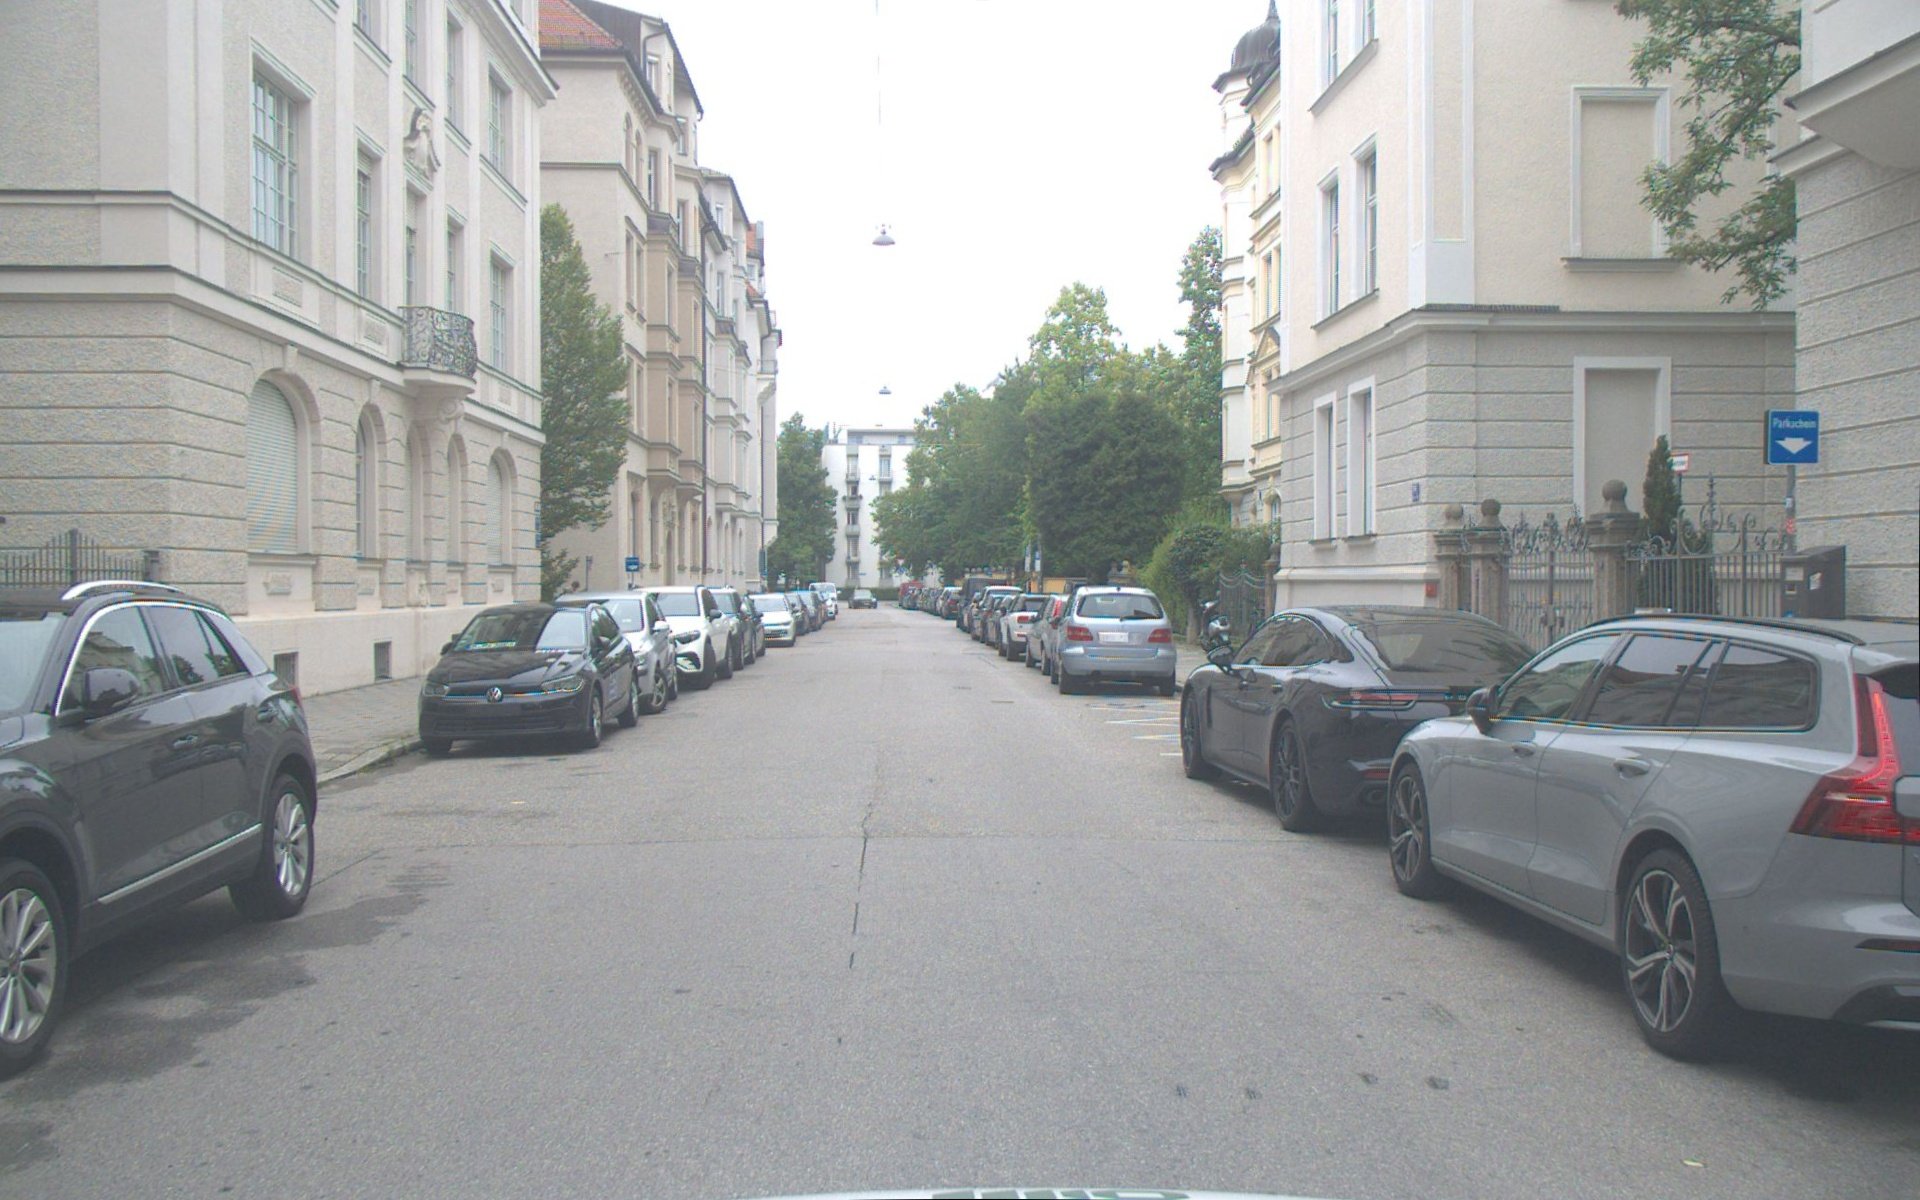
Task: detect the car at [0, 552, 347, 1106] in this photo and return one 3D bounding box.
[{"bbox_3d":[-3.809,0.706,6.153,1.693,1.647,4.118,-3,1,-4],"label":"car"}]

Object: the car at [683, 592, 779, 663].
[{"bbox_3d":[-5.127,0.580,37.465,1.751,1.437,4.365,-1,1,-3],"label":"car"}]

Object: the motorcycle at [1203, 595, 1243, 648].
[{"bbox_3d":[5.790,0.455,36.527,0.594,1.131,1.965,-1,0,1],"label":"motorcycle"}]

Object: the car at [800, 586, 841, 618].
[{"bbox_3d":[-7.063,0.085,83.991,1.799,1.463,4.273,-3,1,-2],"label":"car"}]

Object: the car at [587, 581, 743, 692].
[{"bbox_3d":[-4.801,0.529,27.530,1.876,1.647,4.570,-1,1,-2],"label":"car"}]

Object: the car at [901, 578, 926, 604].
[{"bbox_3d":[-3.700,-0.753,132.152,1.799,1.960,4.004,2,1,0],"label":"car"}]

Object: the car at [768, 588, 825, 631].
[{"bbox_3d":[-6.226,0.336,63.334,1.799,1.460,4.243,-3,1,-2],"label":"car"}]

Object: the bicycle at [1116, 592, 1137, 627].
[{"bbox_3d":[5.381,0.296,53.386,0.445,1.118,1.312,-1,0,-4],"label":"bicycle"}]

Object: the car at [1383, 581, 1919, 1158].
[{"bbox_3d":[3.220,0.728,6.674,1.725,1.511,4.419,2,1,-2],"label":"car"}]

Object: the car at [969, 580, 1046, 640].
[{"bbox_3d":[1.366,0.272,49.244,1.716,1.639,4.419,1,1,-6],"label":"car"}]

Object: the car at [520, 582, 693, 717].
[{"bbox_3d":[-4.697,0.593,22.520,1.748,1.568,4.252,-3,1,-6],"label":"car"}]

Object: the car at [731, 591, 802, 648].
[{"bbox_3d":[-5.608,0.540,48.350,1.800,1.459,4.241,-2,1,-4],"label":"car"}]

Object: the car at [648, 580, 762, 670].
[{"bbox_3d":[-5.023,0.440,33.100,1.800,1.647,4.242,-1,1,-3],"label":"car"}]

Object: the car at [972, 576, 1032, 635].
[{"bbox_3d":[1.332,0.175,54.139,1.688,1.800,4.411,2,0,-2],"label":"car"}]

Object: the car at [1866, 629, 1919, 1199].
[{"bbox_3d":[3.379,0.851,1.689,1.801,1.423,4.968,1,1,-6],"label":"car"}]

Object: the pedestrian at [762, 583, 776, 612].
[{"bbox_3d":[-11.291,-0.162,97.940,0.778,1.708,0.698,-1,0,-11],"label":"pedestrian"}]

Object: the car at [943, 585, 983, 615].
[{"bbox_3d":[0.108,0.002,81.845,1.801,1.438,4.340,1,0,-2],"label":"car"}]

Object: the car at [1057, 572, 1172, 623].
[{"bbox_3d":[6.409,-0.128,68.958,4.445,1.984,1.900,-1,2,-9],"label":"car"}]

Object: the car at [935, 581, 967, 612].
[{"bbox_3d":[-0.512,-0.182,91.874,1.484,1.690,3.670,1,0,-5],"label":"car"}]

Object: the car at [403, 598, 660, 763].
[{"bbox_3d":[-4.449,0.755,17.835,1.757,1.439,4.276,-3,1,-2],"label":"car"}]

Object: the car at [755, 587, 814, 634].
[{"bbox_3d":[-6.102,0.338,57.783,1.797,1.459,4.550,-2,1,-4],"label":"car"}]

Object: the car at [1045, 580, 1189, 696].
[{"bbox_3d":[2.389,0.519,26.129,1.785,1.596,4.400,2,1,0],"label":"car"}]

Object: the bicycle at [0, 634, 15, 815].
[{"bbox_3d":[-7.223,0.855,10.279,1.128,1.264,2.716,3,0,-2],"label":"bicycle"}]

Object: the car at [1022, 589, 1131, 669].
[{"bbox_3d":[2.190,0.517,31.839,1.719,1.431,3.450,0,0,-2],"label":"car"}]

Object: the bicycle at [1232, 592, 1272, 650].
[{"bbox_3d":[6.089,0.420,34.548,0.425,1.145,1.881,-1,1,-2],"label":"bicycle"}]

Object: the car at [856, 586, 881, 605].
[{"bbox_3d":[-7.107,-0.378,128.387,1.838,1.453,4.405,-1,1,-5],"label":"car"}]

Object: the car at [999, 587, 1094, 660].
[{"bbox_3d":[1.872,0.478,36.936,1.748,1.530,4.063,0,0,-2],"label":"car"}]

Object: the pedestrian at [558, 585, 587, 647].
[{"bbox_3d":[-10.550,0.424,45.021,0.660,1.654,0.630,-1,0,-5],"label":"pedestrian"}]

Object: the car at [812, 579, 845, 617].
[{"bbox_3d":[-8.123,-0.149,102.470,1.849,2.164,4.702,-3,1,-4],"label":"car"}]

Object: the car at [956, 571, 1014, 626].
[{"bbox_3d":[0.924,-0.088,63.815,1.912,1.988,4.664,1,1,-3],"label":"car"}]

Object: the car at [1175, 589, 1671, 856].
[{"bbox_3d":[3.005,0.691,11.943,1.954,1.483,4.709,-1,1,-4],"label":"car"}]
